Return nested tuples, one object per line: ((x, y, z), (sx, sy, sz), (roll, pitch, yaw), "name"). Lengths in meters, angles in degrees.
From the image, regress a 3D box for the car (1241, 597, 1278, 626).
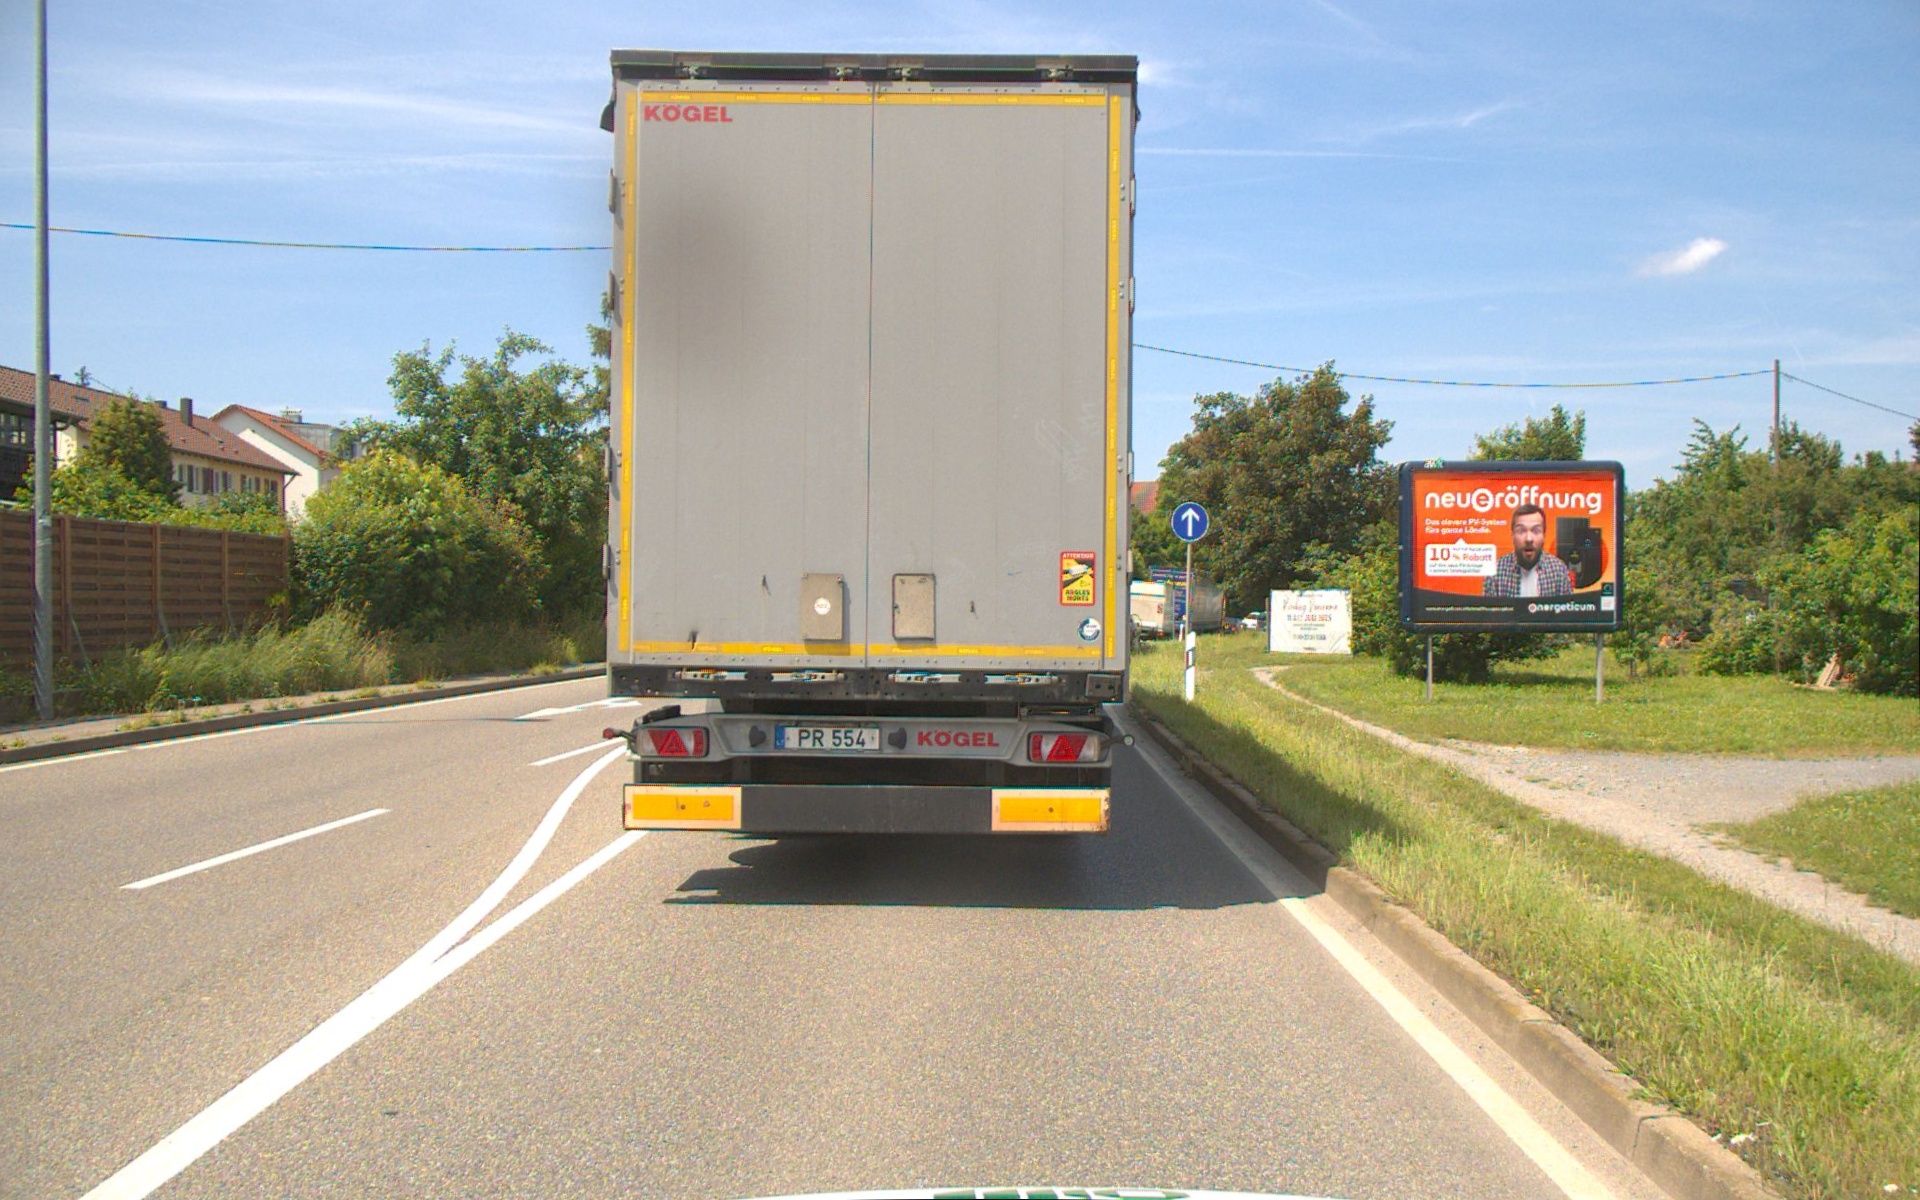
((21.670, 0.832, 119.479), (1.952, 2.049, 4.001), (1, -1, 20), "car")

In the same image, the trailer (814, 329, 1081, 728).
((-0.028, -0.776, 20.682), (2.766, 4.183, 6.546), (1, 0, 2), "trailer")

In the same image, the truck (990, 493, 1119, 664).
((3.212, -0.458, 50.742), (2.701, 4.364, 16.427), (1, -1, 7), "truck")

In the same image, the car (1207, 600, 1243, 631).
((17.830, 1.046, 111.263), (1.951, 2.049, 4.003), (1, -1, 15), "car")

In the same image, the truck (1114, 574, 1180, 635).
((9.330, 0.267, 82.126), (2.489, 2.852, 6.036), (1, -1, 13), "truck")

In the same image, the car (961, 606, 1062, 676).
((1.145, 0.841, 35.041), (1.780, 1.370, 3.850), (1, -1, 7), "car")

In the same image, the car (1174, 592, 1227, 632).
((14.875, 0.688, 101.857), (2.478, 2.317, 6.386), (1, 0, 15), "car")

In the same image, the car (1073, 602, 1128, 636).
((6.190, 0.850, 72.505), (1.951, 1.400, 4.003), (1, -1, 11), "car")

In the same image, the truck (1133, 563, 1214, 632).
((12.107, -0.180, 92.919), (3.360, 3.667, 9.361), (1, 1, 14), "truck")

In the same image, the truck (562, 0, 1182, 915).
((-0.243, -0.729, 13.265), (2.763, 4.200, 11.446), (1, 0, 2), "truck")
